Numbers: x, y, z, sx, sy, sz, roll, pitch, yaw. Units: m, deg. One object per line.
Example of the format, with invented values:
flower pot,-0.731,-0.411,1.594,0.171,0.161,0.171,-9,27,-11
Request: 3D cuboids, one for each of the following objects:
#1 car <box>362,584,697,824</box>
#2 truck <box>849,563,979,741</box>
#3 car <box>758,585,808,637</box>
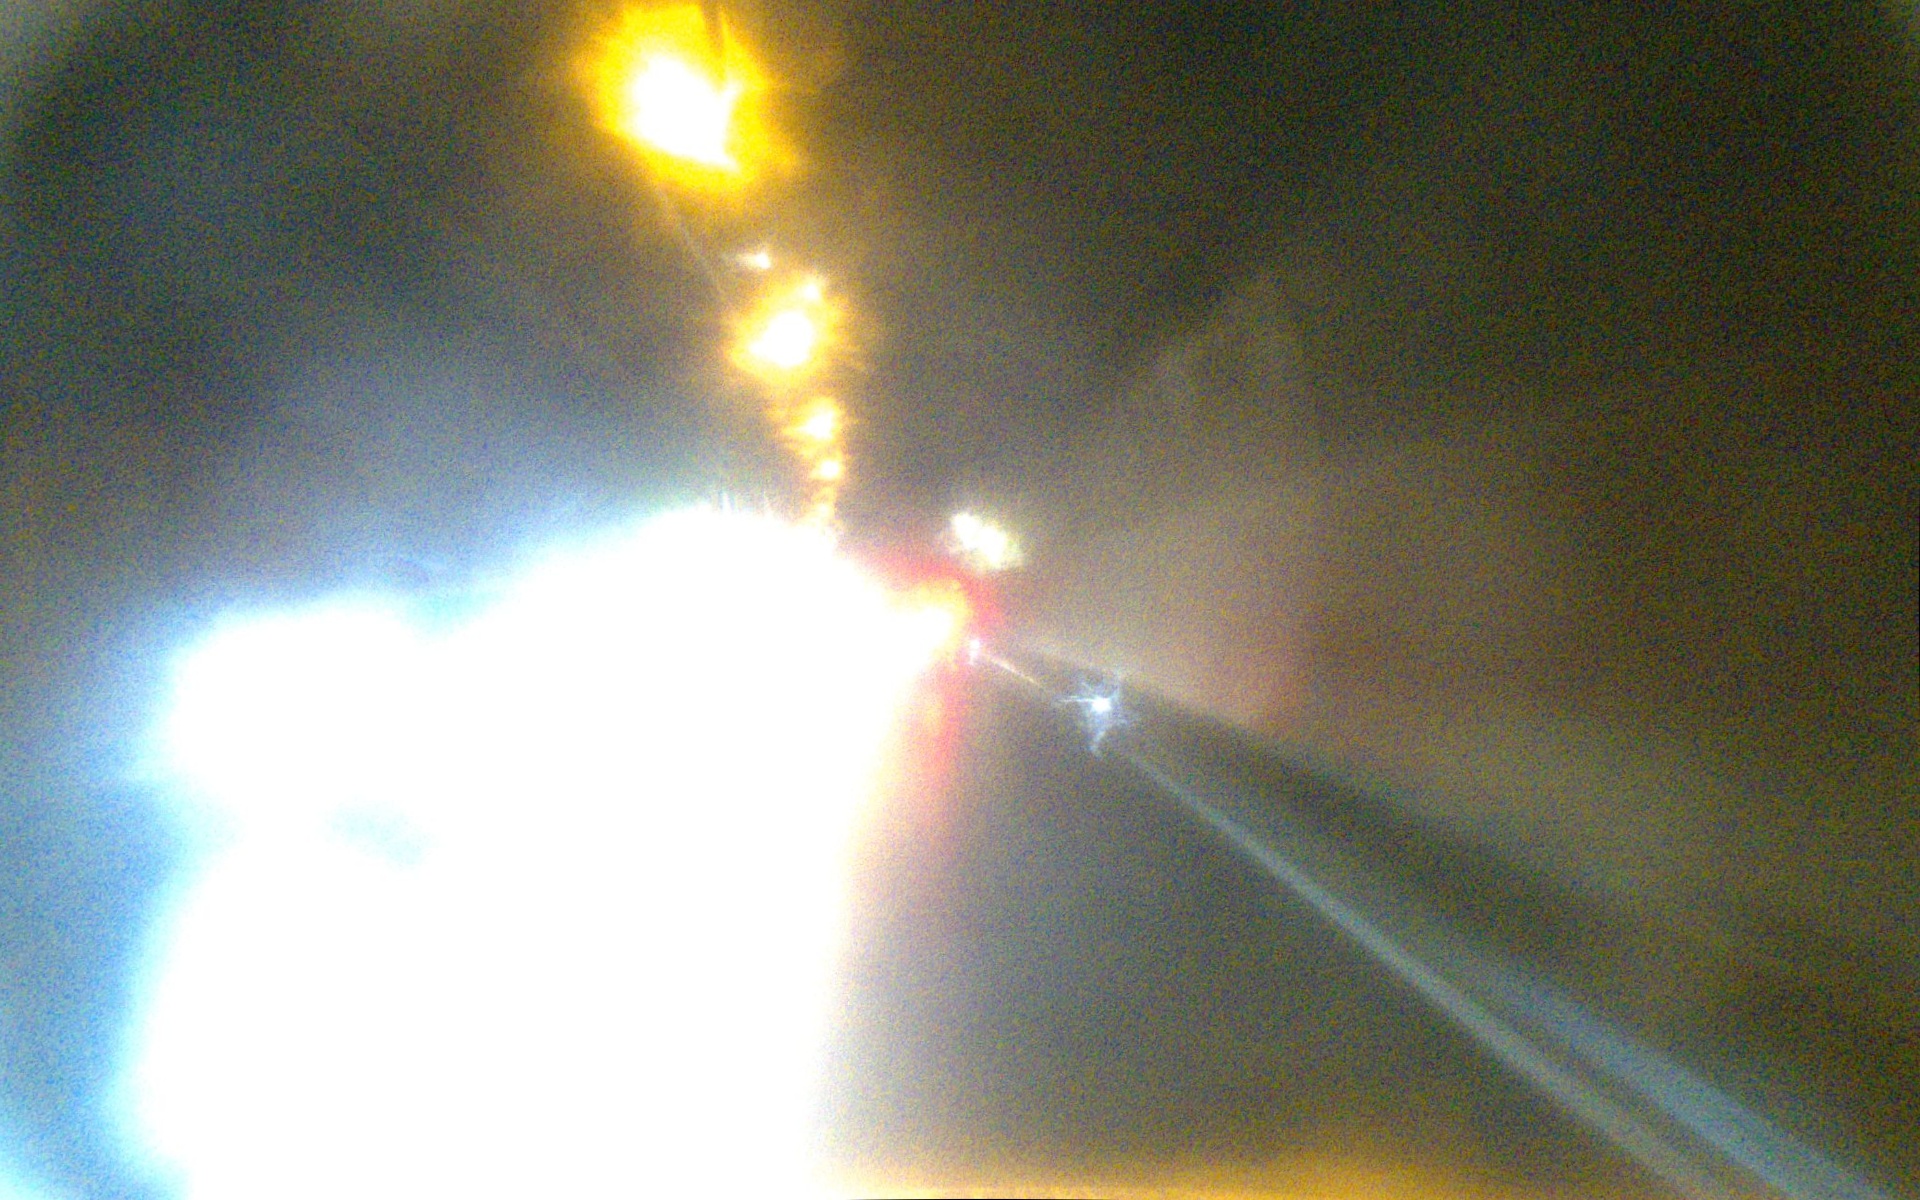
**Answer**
car,-3.066,0.663,12.543,1.622,1.519,3.837,1,0,-2
truck,-0.821,0.899,32.372,2.216,3.063,7.414,1,0,0
car,-5.998,0.354,56.340,1.599,1.679,3.771,-1,0,-5
